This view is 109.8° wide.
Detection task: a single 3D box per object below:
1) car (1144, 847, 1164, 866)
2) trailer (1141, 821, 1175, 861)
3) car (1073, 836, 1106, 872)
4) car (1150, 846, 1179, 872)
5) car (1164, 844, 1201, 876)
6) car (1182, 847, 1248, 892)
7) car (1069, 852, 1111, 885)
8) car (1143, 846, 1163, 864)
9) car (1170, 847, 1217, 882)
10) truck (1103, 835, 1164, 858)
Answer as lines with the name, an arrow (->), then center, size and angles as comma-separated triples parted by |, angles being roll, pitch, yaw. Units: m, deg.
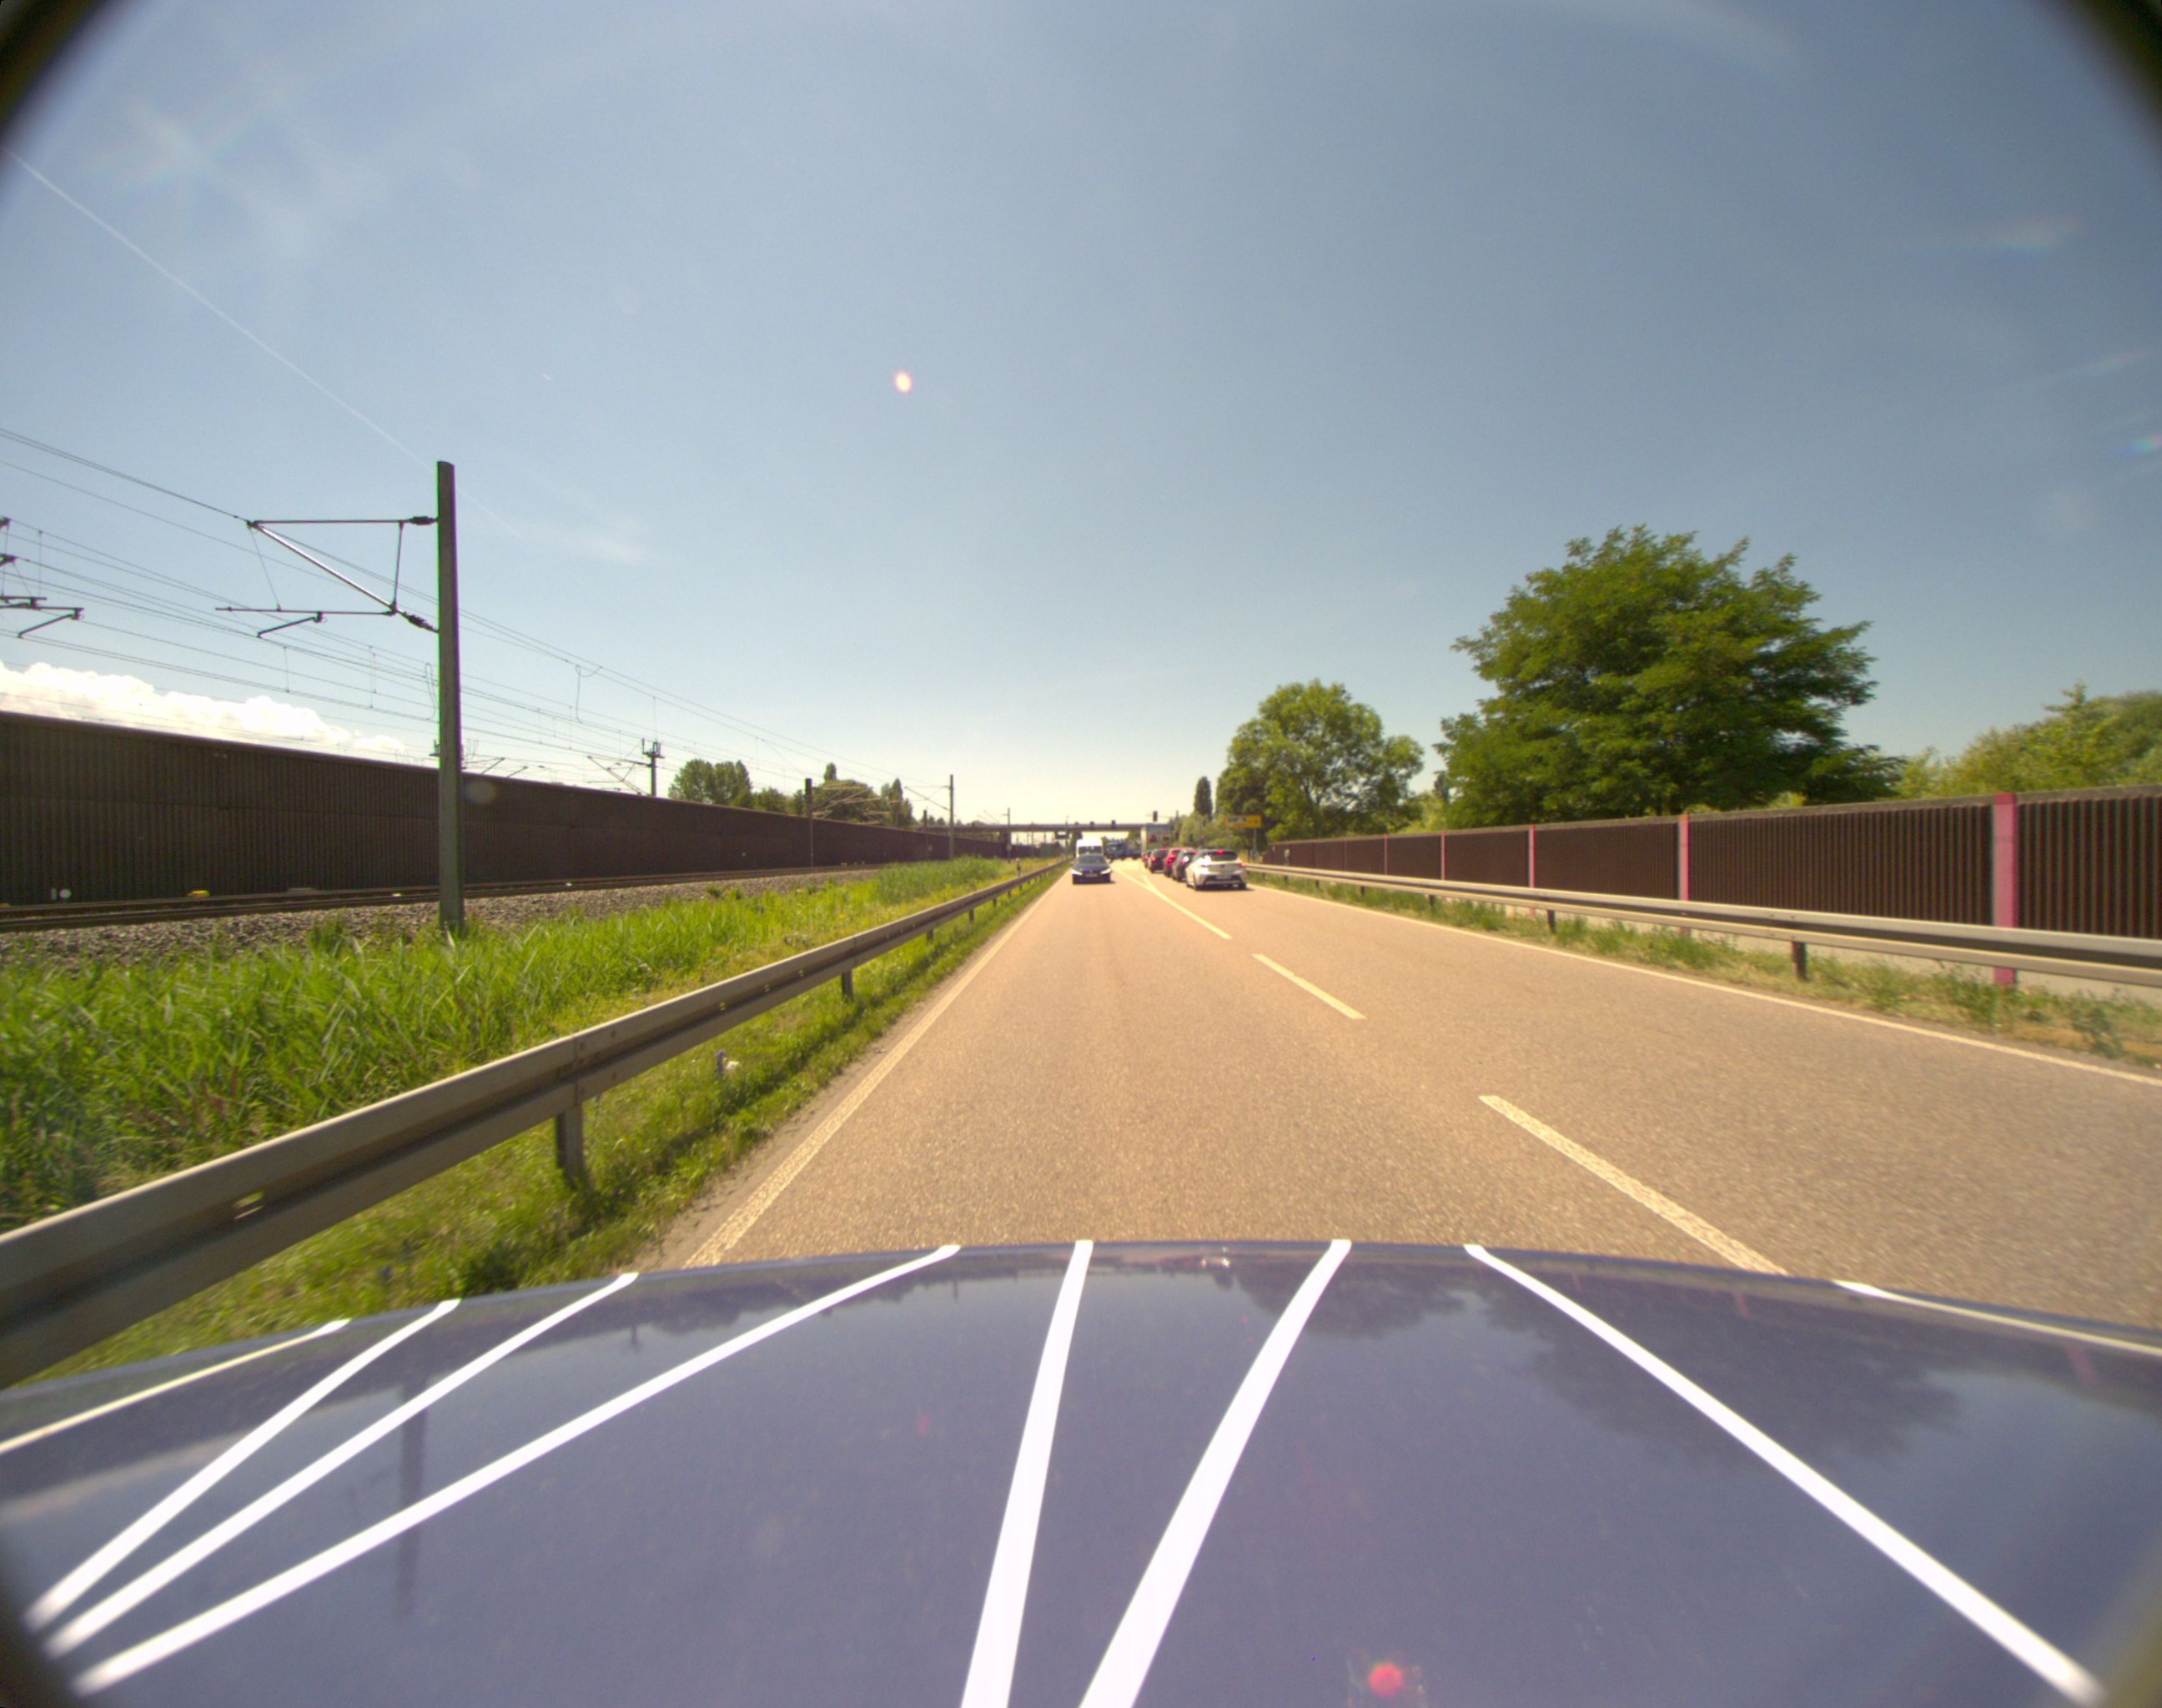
car -> 6.198, 0.176, 64.660 | 1.627, 1.529, 4.385 | -1, 0, 5
trailer -> 8.331, -1.407, 84.002 | 2.696, 4.021, 14.124 | -2, 1, 2
car -> 0.671, 0.001, 57.314 | 2.227, 2.480, 5.983 | -2, 0, 2
car -> 5.501, 0.288, 50.697 | 1.720, 1.580, 4.535 | -2, 0, 4
car -> 5.615, 0.325, 42.532 | 1.759, 1.622, 4.280 | -2, 0, 4
car -> 4.805, 0.498, 27.820 | 1.689, 1.451, 4.616 | -3, 1, 2
car -> 0.471, 0.646, 36.308 | 1.847, 1.415, 4.562 | -2, 1, 2
car -> 6.812, 0.055, 72.213 | 1.716, 1.553, 4.155 | -2, 1, 3
car -> 5.145, 0.431, 35.282 | 1.689, 1.451, 4.616 | -3, 1, 3
truck -> 7.521, -1.137, 107.669 | 9.194, 3.177, 2.688 | -1, 1, -39
